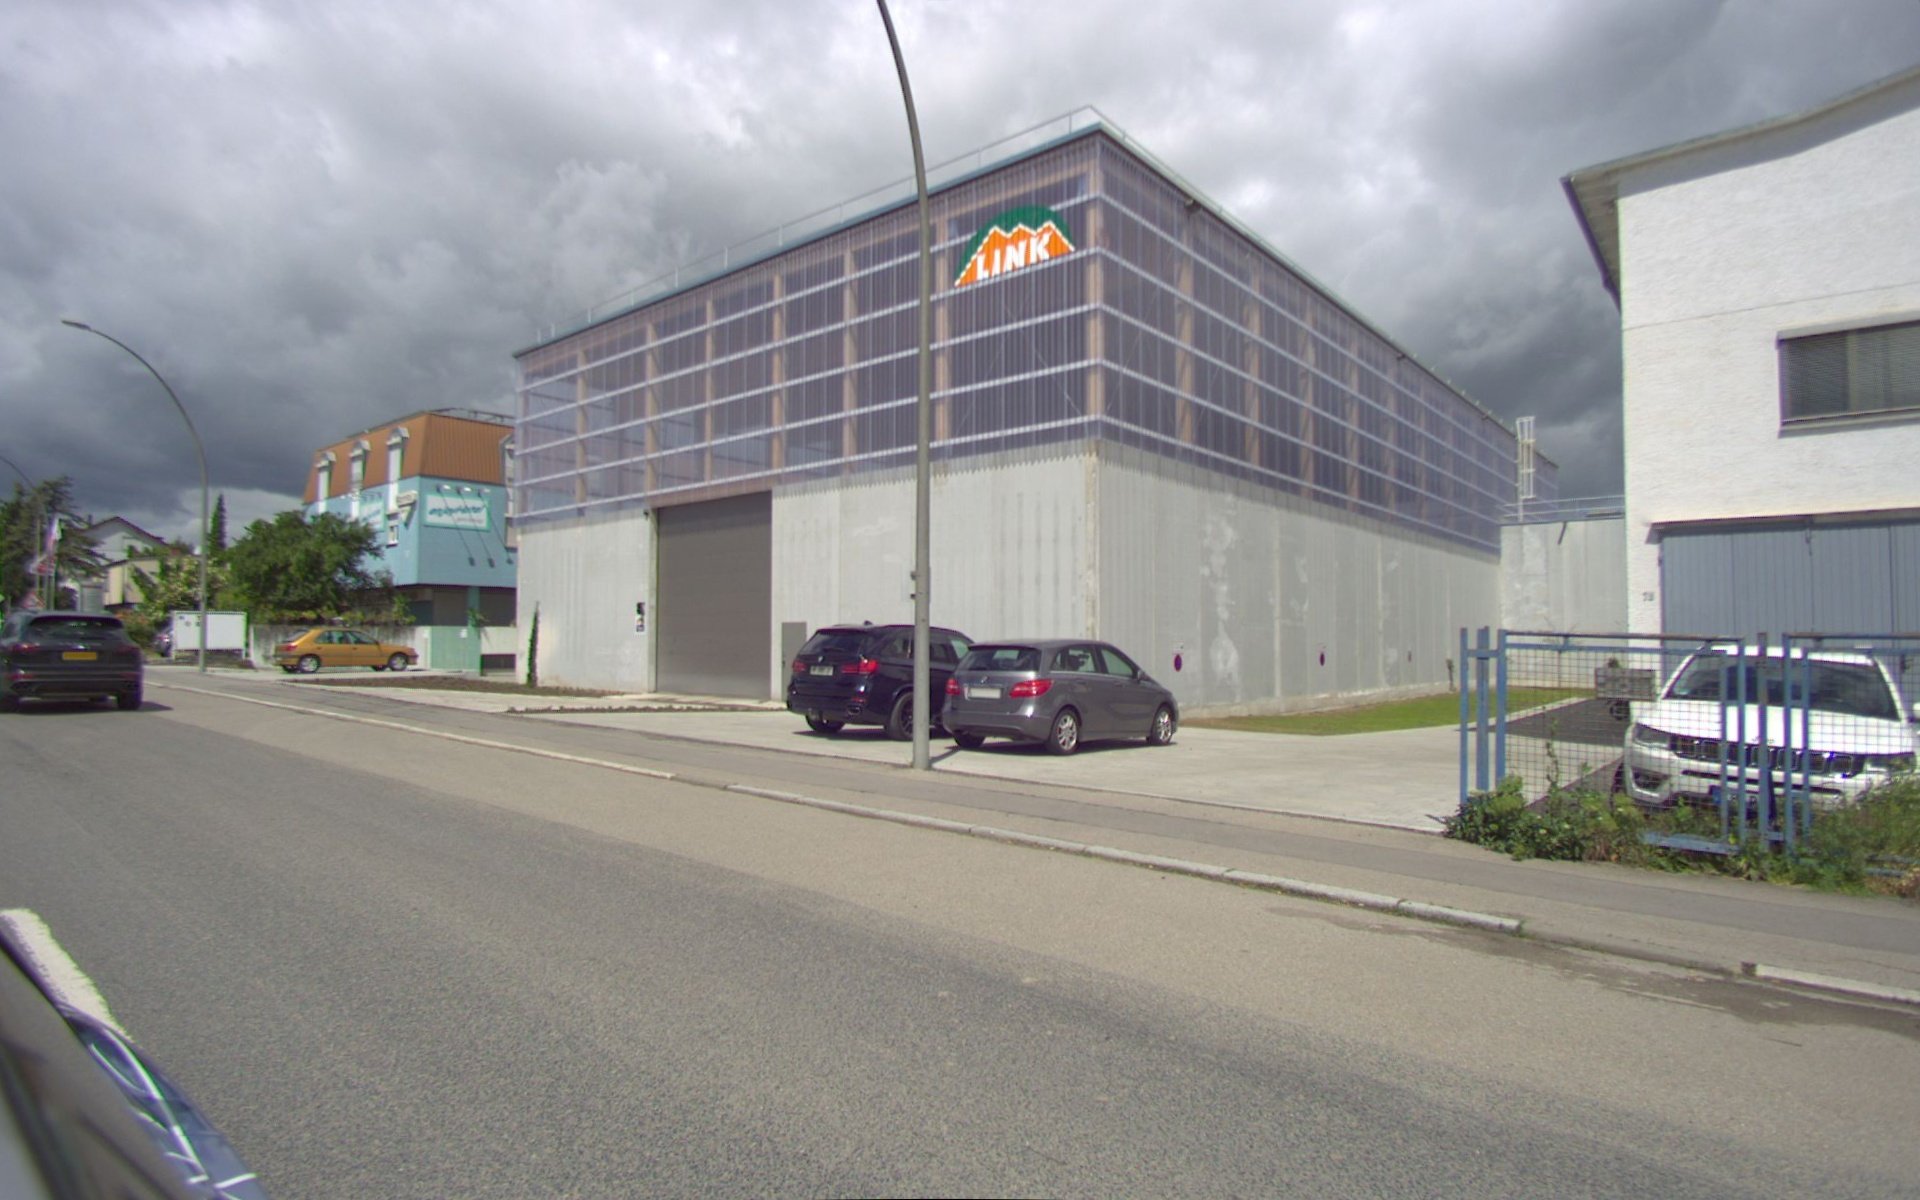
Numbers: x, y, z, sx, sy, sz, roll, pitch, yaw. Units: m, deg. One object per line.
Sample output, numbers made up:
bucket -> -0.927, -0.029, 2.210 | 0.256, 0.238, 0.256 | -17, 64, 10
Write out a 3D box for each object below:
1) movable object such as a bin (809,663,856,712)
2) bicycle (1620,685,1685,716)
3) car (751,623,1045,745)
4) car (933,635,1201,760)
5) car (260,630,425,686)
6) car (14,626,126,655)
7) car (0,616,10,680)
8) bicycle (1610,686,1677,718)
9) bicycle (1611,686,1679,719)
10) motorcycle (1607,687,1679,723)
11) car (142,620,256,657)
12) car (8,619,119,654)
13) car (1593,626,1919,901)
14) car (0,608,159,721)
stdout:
movable object such as a bin -> -2.816, 1.919, 22.383 | 0.711, 1.038, 0.735 | -2, -4, 42
bicycle -> 21.206, 3.071, 31.018 | 1.596, 0.862, 0.441 | -2, -1, 41
car -> -0.806, 1.345, 16.085 | 2.194, 1.645, 4.583 | -2, -6, 37
car -> 1.713, 1.391, 14.613 | 1.823, 1.517, 4.419 | -2, -6, 37
car -> -19.633, 1.798, 32.325 | 1.823, 1.503, 4.111 | -2, -1, 37
car -> -48.122, 2.177, 54.808 | 1.870, 1.489, 4.329 | 0, -2, 41
car -> -30.987, 1.451, 31.116 | 5.113, 1.903, 1.973 | -2, -3, 40
bicycle -> 20.189, 3.006, 29.893 | 1.596, 0.862, 0.295 | -2, -1, 41
bicycle -> 19.854, 2.953, 29.347 | 1.596, 0.862, 0.390 | -2, -1, 41
motorcycle -> 18.948, 2.905, 28.098 | 1.596, 0.862, 0.536 | -2, -1, 41
car -> -32.450, 1.639, 43.215 | 1.979, 1.544, 3.588 | -2, -3, 43
car -> -53.392, 2.184, 60.358 | 2.112, 1.987, 4.608 | -2, -3, 37
car -> 6.699, 1.088, 8.215 | 1.991, 1.578, 4.235 | 3, 0, 41
car -> -16.058, 1.108, 17.989 | 4.545, 1.747, 1.973 | -2, -4, 41
